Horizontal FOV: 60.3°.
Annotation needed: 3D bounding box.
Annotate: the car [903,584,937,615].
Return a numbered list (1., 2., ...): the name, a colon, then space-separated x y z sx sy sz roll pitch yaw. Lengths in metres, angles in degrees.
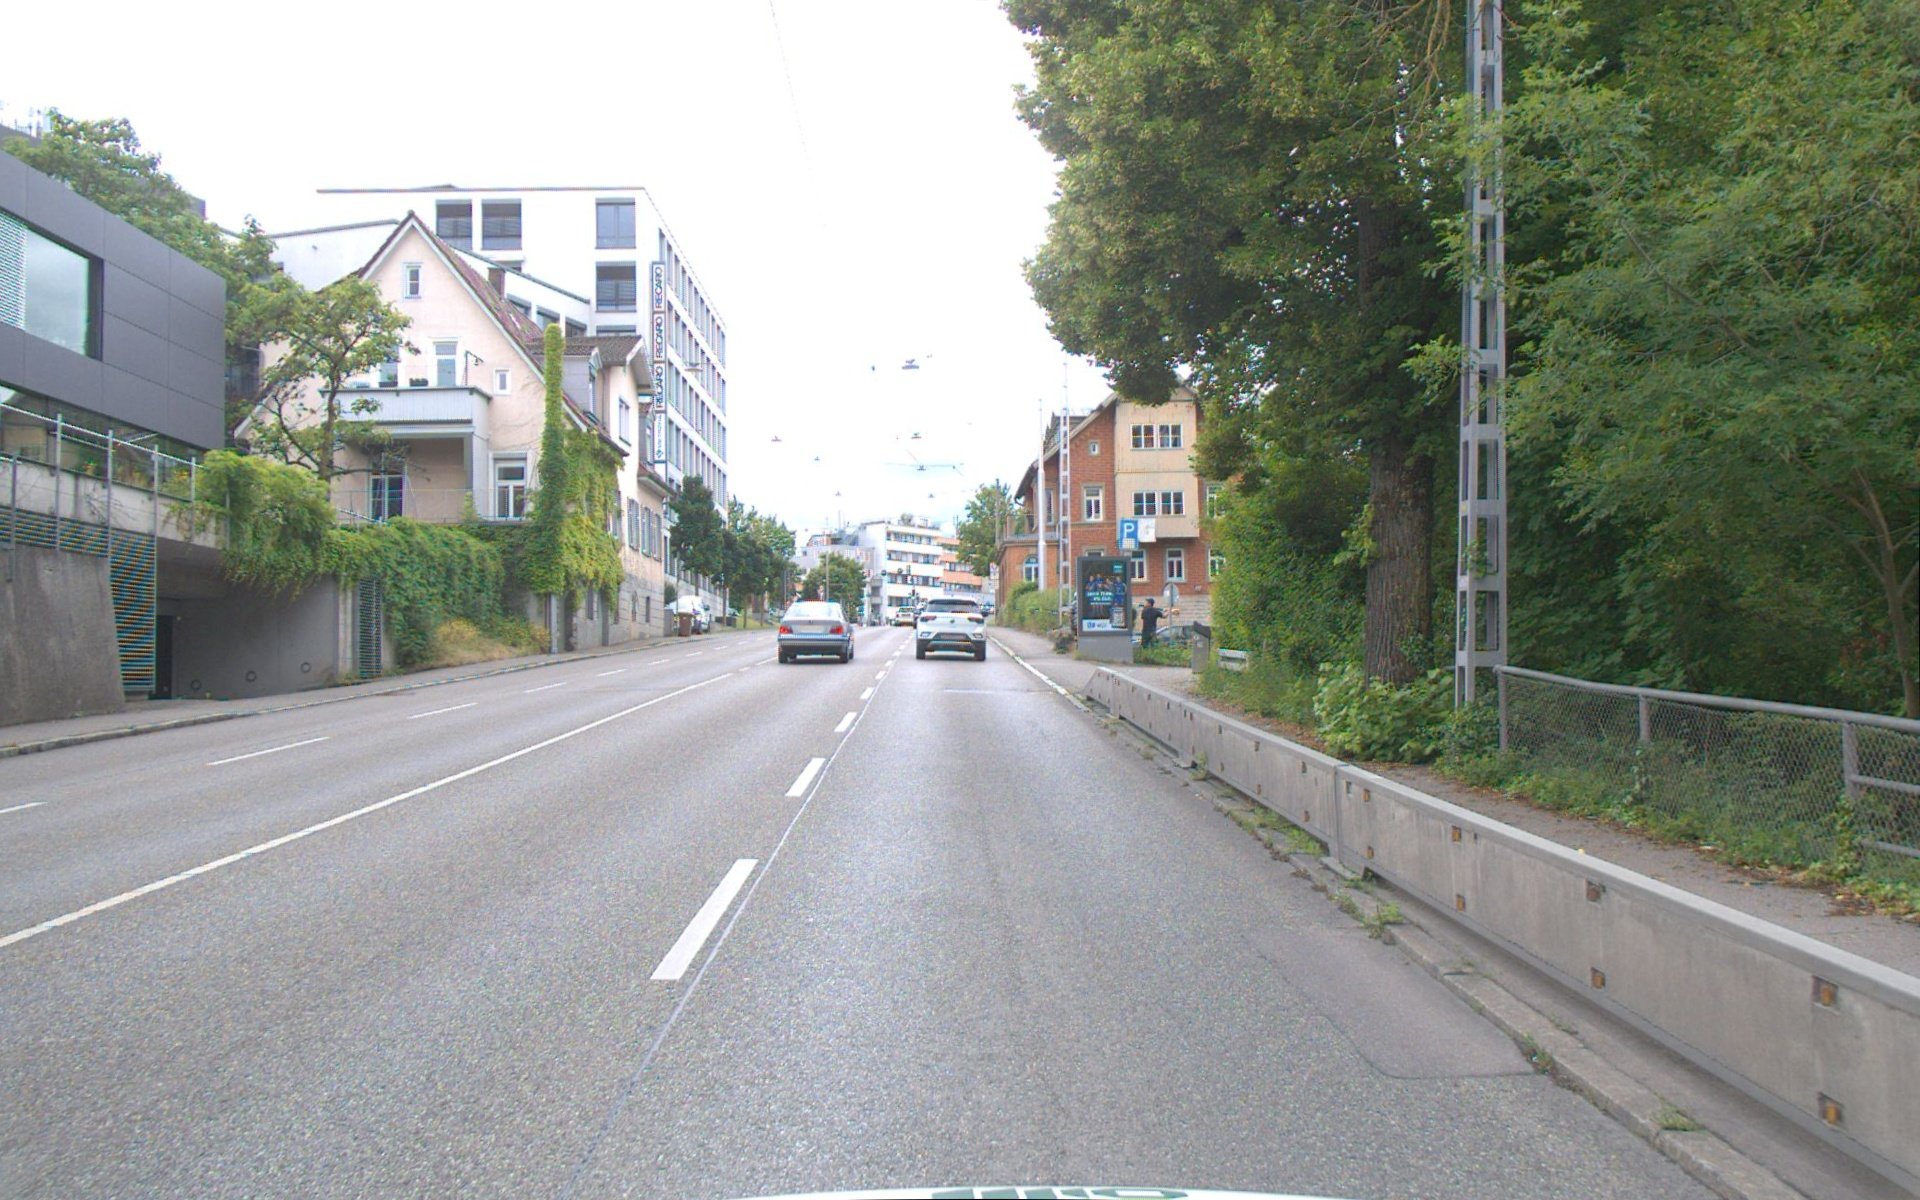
1. car: -2.173 -0.036 91.032 1.793 1.680 3.999 -1 0 -1

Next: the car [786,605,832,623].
1. car: -13.375 1.238 146.840 1.751 1.571 3.974 -2 -2 43

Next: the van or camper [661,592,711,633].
1. van or camper: -14.122 0.639 85.466 2.019 2.002 4.869 -1 0 -3

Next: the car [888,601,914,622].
1. car: -4.226 0.806 118.921 1.793 1.489 3.999 -1 0 -1

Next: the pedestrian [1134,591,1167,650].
1. pedestrian: 5.189 0.558 45.035 0.578 1.599 0.641 -2 0 -31

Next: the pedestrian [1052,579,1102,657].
1. pedestrian: 2.969 0.455 41.967 0.806 1.917 0.936 -2 0 -37

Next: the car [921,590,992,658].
1. car: -0.115 0.583 42.117 1.665 1.575 3.735 2 0 -1

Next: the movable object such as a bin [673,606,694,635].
1. movable object such as a bin: -12.062 0.890 72.120 0.795 1.210 0.697 3 -1 -7

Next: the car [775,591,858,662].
1. car: -3.305 0.586 38.643 1.665 1.542 3.735 -1 0 -1
